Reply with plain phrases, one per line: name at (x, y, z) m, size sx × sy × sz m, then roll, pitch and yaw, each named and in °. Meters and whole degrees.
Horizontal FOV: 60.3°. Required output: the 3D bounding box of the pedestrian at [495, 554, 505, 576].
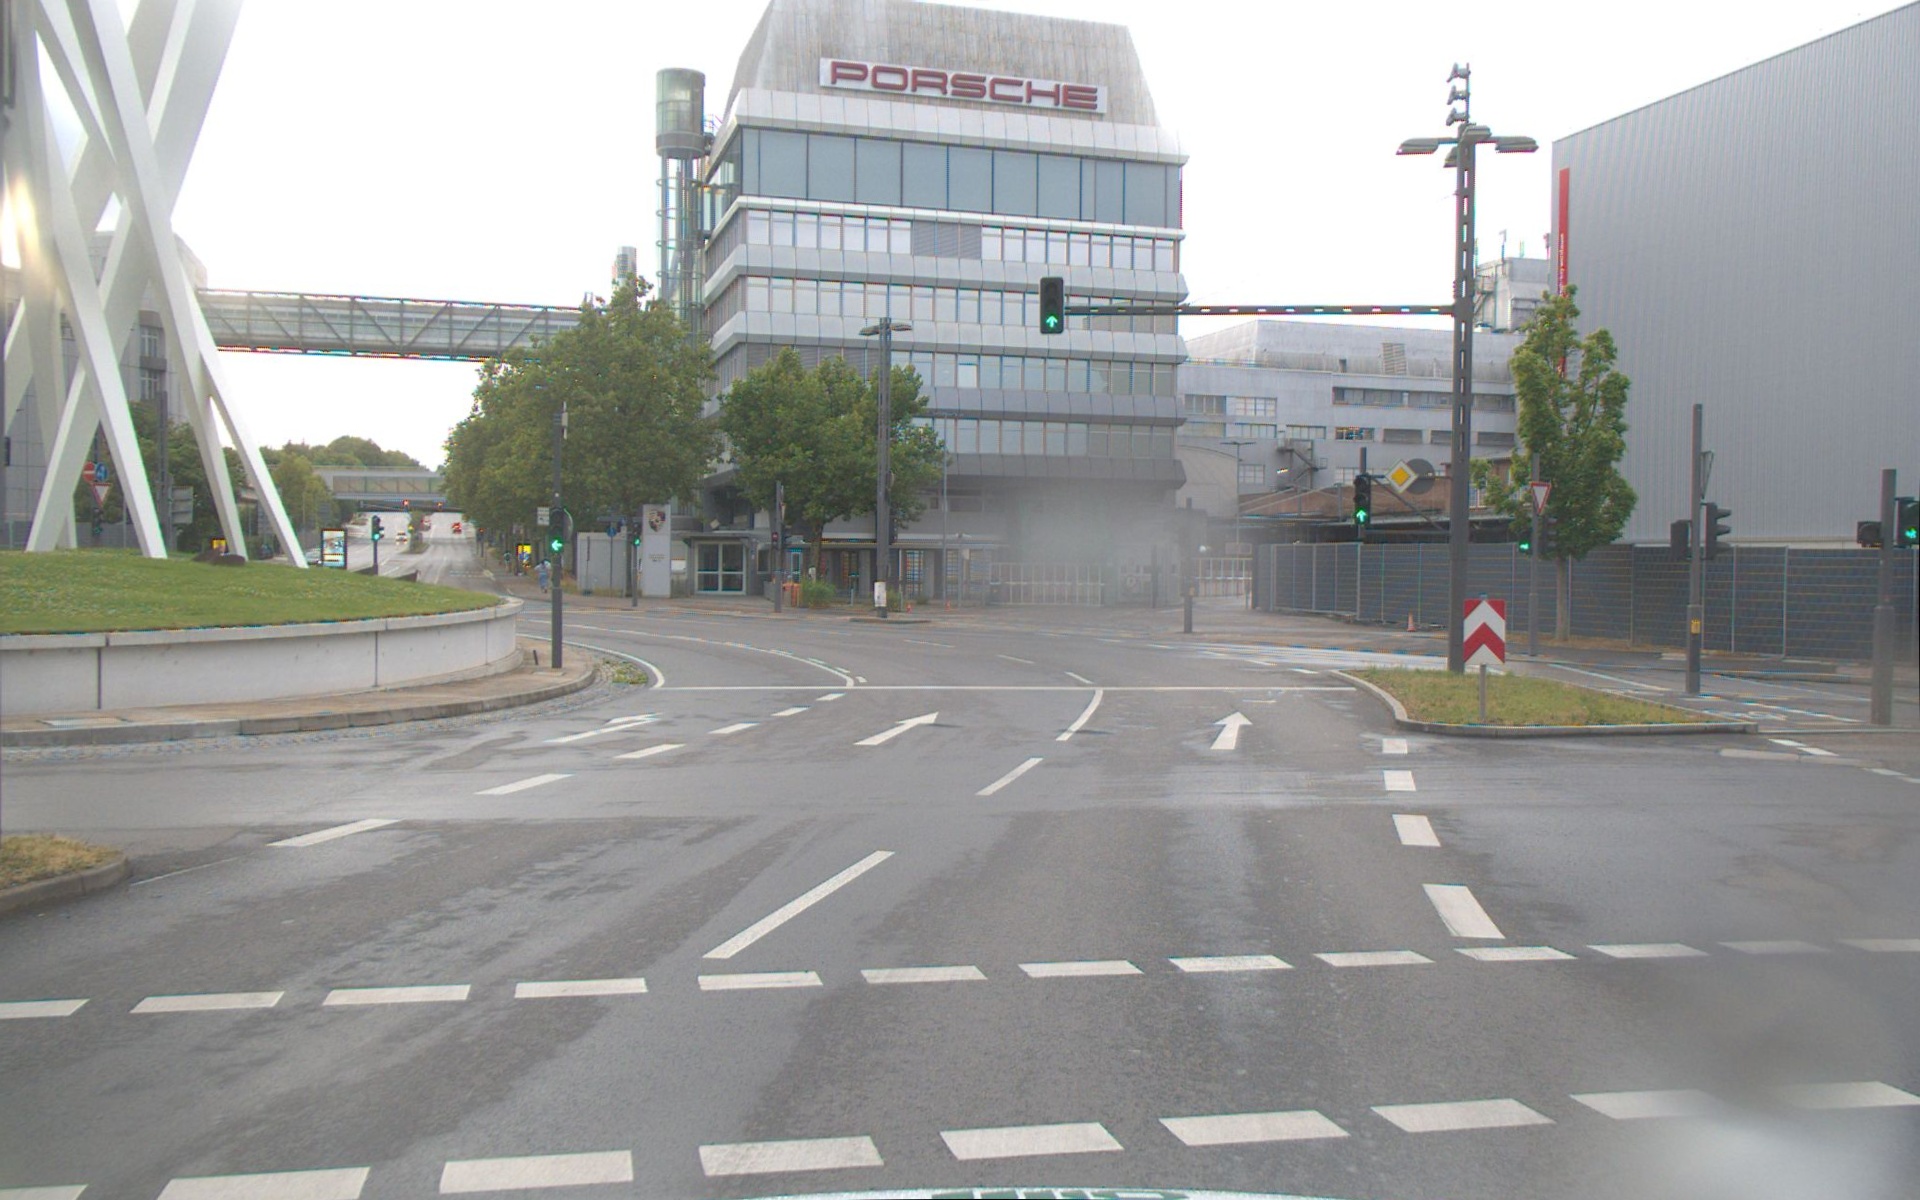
pedestrian at (-44.321, -3.366, 159.464) m, size 0.749 × 2.049 × 0.692 m, roll 1°, pitch 0°, yaw 0°

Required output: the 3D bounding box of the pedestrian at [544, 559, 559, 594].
pedestrian at (-19.264, -1.109, 78.018) m, size 0.697 × 1.619 × 0.838 m, roll 0°, pitch 2°, yaw -13°

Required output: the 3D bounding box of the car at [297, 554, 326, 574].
car at (-49.464, -2.778, 126.222) m, size 1.755 × 1.465 × 4.375 m, roll 0°, pitch 2°, yaw -17°

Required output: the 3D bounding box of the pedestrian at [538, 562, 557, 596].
pedestrian at (-19.029, -0.982, 76.283) m, size 0.816 × 1.547 × 0.840 m, roll 0°, pitch 2°, yaw -10°

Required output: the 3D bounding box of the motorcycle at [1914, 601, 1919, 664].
motorcycle at (21.575, 0.732, 35.217) m, size 2.051 × 1.333 × 0.655 m, roll 2°, pitch 1°, yaw 22°

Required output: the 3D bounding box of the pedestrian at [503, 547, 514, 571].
pedestrian at (-33.906, -3.069, 124.197) m, size 0.700 × 1.770 × 0.756 m, roll 2°, pitch -1°, yaw -17°
